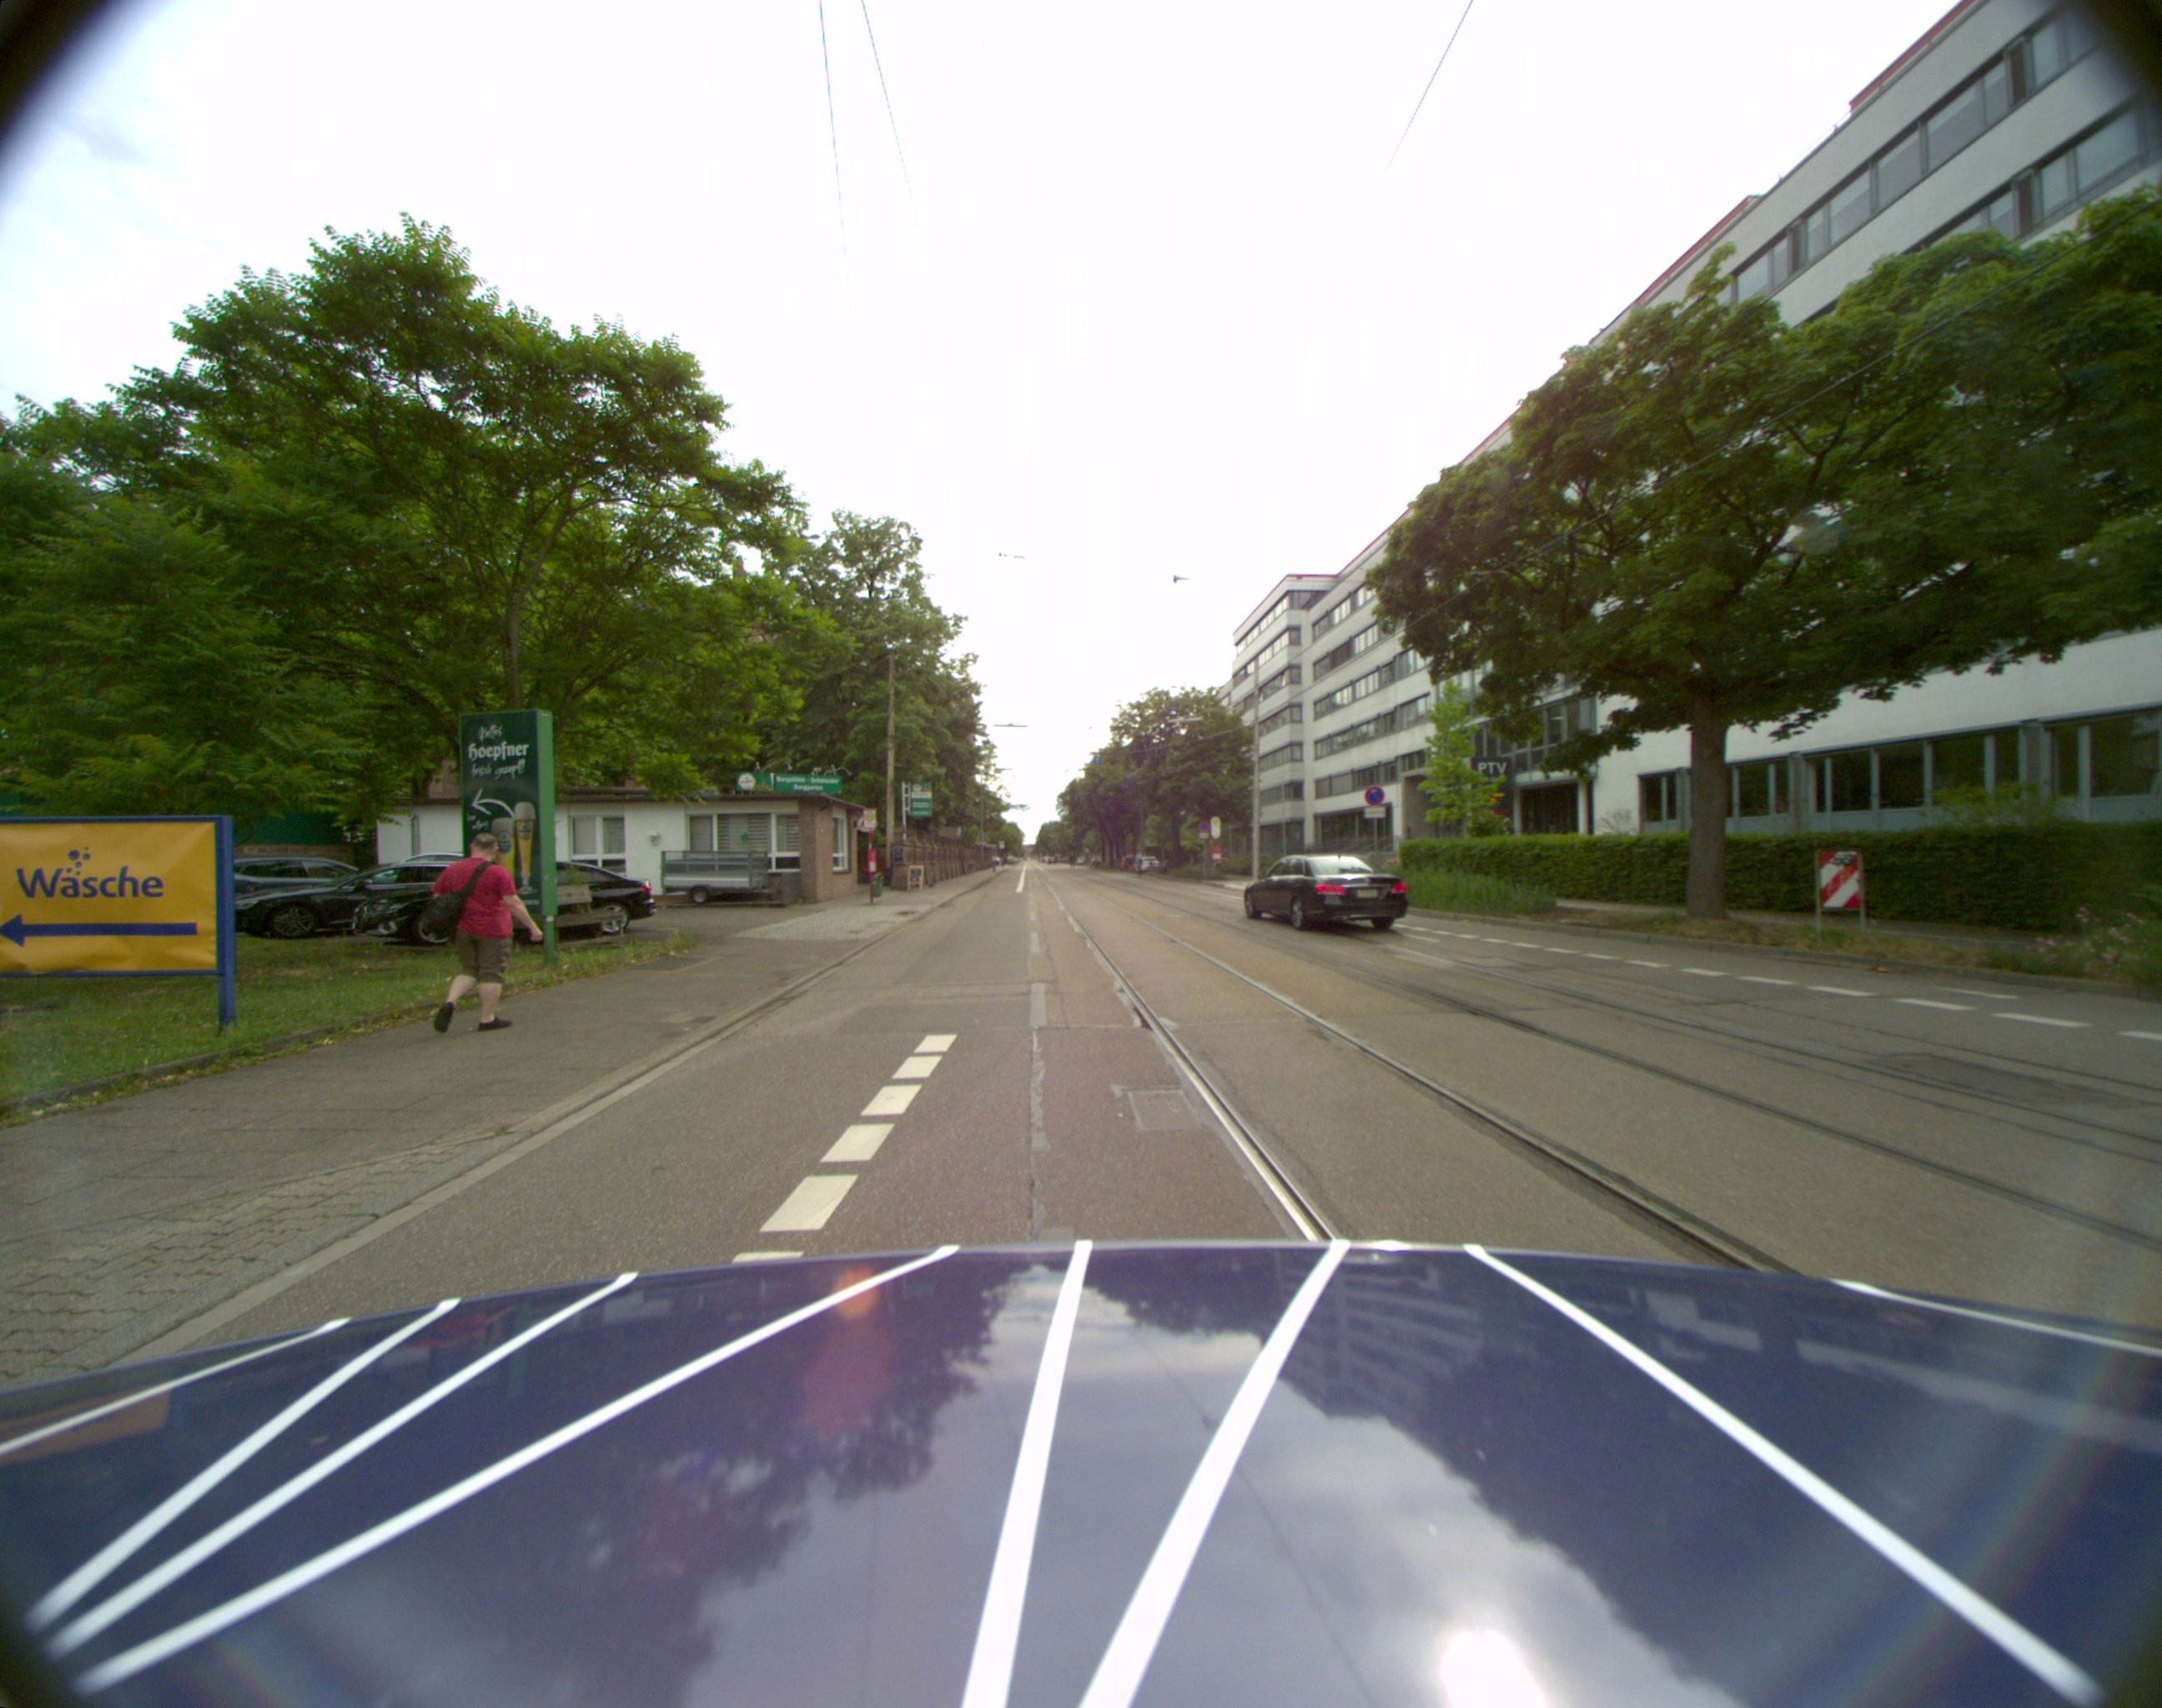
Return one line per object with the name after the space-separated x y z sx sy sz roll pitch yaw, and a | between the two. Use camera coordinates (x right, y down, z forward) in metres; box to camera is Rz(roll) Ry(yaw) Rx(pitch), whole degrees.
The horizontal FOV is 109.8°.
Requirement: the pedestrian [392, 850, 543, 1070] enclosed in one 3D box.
-5.281 0.850 6.609 0.871 1.738 0.849 1 1 -29 | pedestrian

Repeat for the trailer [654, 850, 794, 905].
-10.499 0.668 22.537 3.291 1.523 1.773 0 3 -3 | trailer

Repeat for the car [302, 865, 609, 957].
-11.104 0.939 13.946 1.997 1.281 4.002 -2 1 8 | car

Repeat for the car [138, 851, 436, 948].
-16.547 0.841 16.064 1.807 1.686 4.033 -1 1 33 | car

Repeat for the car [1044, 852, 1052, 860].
-8.877 0.423 205.373 1.999 2.002 3.999 -2 1 -2 | car

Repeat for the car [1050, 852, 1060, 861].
-5.781 0.513 169.460 1.998 2.002 4.000 -2 1 1 | car

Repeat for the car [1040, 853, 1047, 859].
-12.520 0.560 256.294 1.998 2.002 3.999 -2 1 0 | car

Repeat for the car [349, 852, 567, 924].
-16.369 0.851 20.152 3.998 1.657 1.999 -2 1 -3 | car

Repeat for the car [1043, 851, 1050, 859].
-9.997 0.321 220.015 1.999 2.002 3.999 -2 1 -2 | car

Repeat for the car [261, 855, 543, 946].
-13.818 0.855 15.683 1.822 1.509 4.008 -1 1 37 | car

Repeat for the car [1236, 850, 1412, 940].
4.801 0.706 15.763 1.802 1.537 4.477 -2 1 -6 | car
